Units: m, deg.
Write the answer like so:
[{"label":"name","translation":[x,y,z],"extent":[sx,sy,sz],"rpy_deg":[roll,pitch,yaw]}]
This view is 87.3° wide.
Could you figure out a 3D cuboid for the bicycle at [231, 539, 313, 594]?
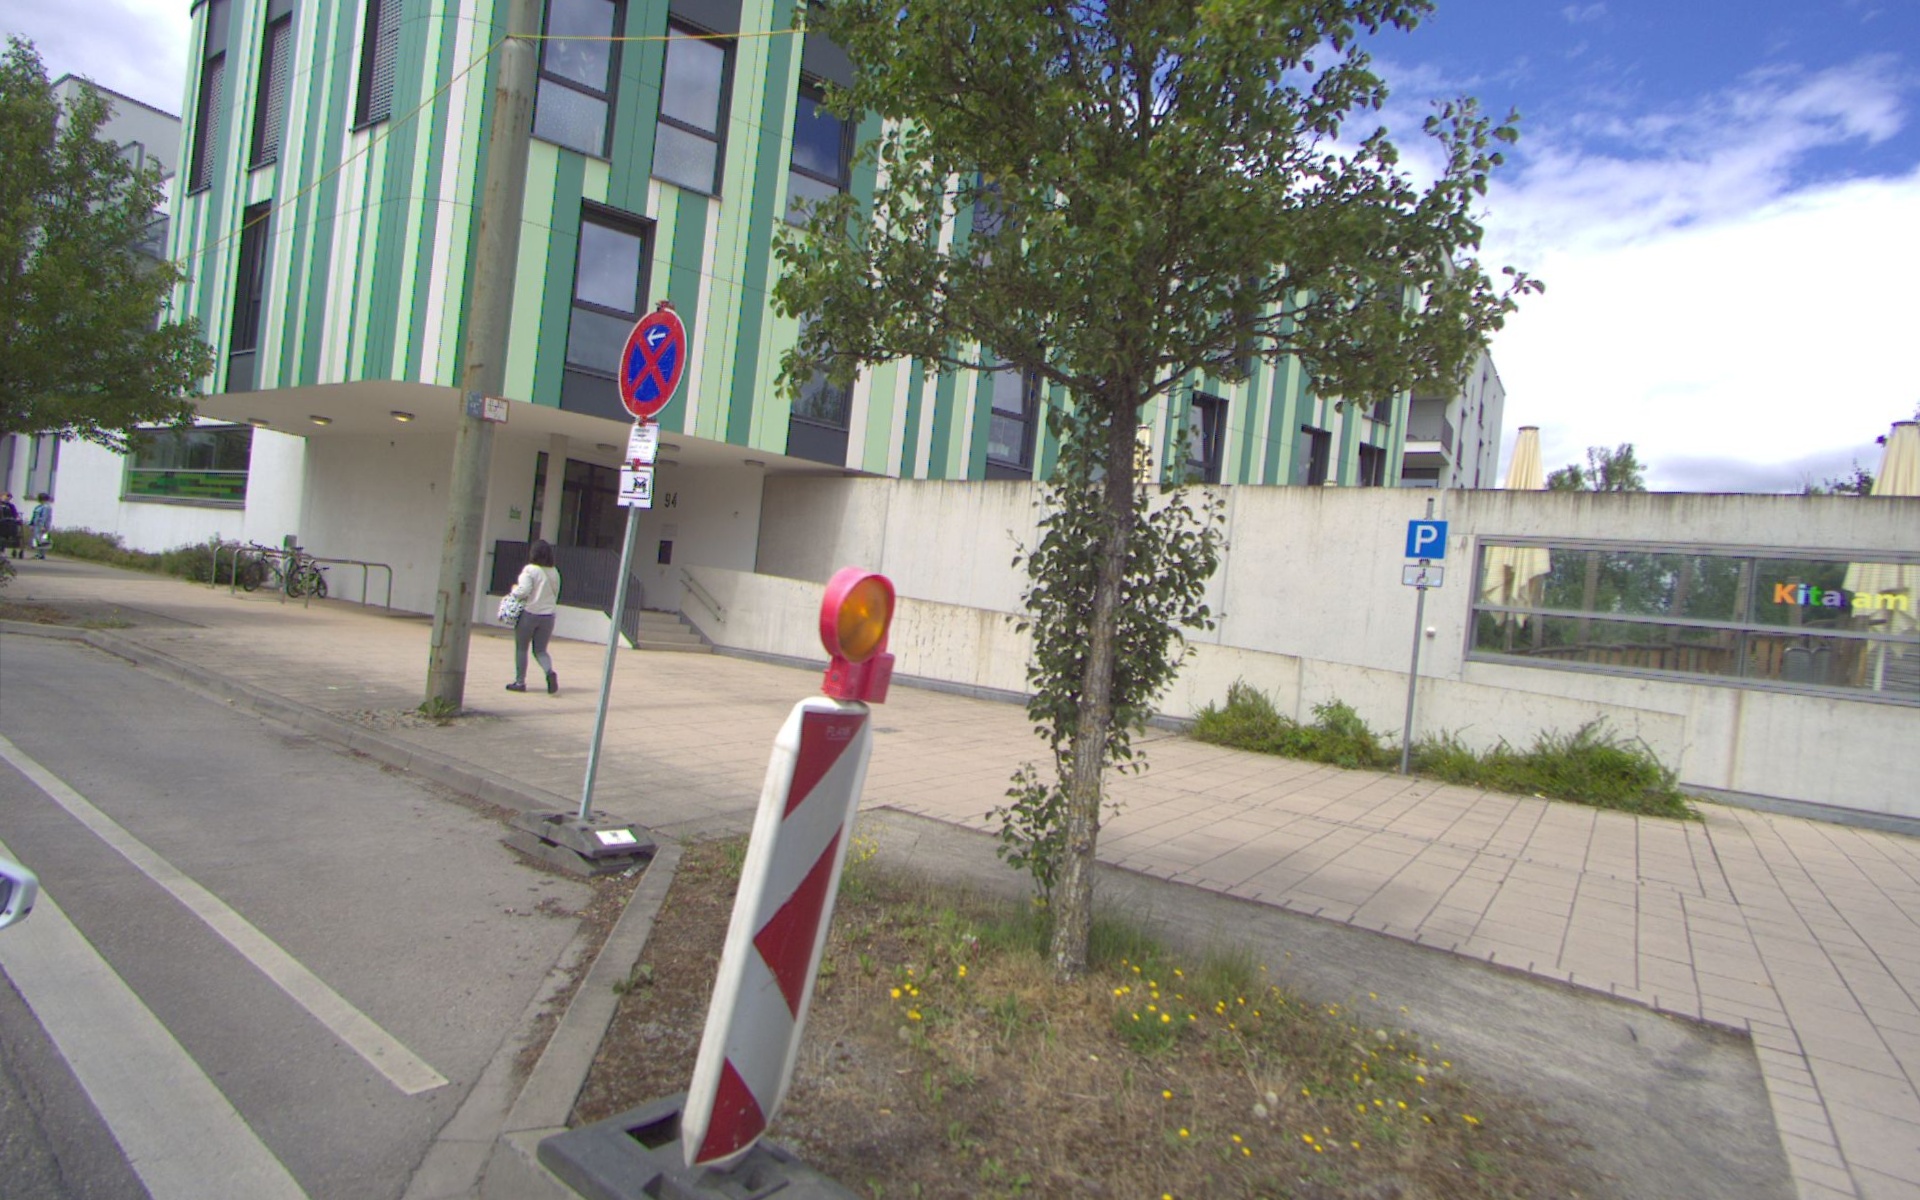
[{"label":"bicycle","translation":[-14.774,-0.705,21.651],"extent":[0.301,1.059,1.468],"rpy_deg":[6,0,22]}]

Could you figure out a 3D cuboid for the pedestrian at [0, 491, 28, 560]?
[{"label":"pedestrian","translation":[-24.116,-1.889,25.434],"extent":[0.543,1.676,0.605],"rpy_deg":[6,1,34]}]

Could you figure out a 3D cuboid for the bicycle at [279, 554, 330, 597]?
[{"label":"bicycle","translation":[-13.810,-0.498,21.208],"extent":[0.301,0.852,1.025],"rpy_deg":[6,0,2]}]

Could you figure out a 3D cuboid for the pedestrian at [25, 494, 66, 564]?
[{"label":"pedestrian","translation":[-23.239,-1.806,25.553],"extent":[0.597,1.676,0.550],"rpy_deg":[6,1,34]}]

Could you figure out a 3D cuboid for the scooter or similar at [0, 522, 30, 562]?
[{"label":"scooter or similar","translation":[-23.627,-1.451,25.106],"extent":[0.671,0.917,0.421],"rpy_deg":[6,1,34]}]

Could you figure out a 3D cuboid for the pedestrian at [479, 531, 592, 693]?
[{"label":"pedestrian","translation":[-4.387,0.122,10.395],"extent":[0.855,1.571,0.581],"rpy_deg":[6,1,34]}]

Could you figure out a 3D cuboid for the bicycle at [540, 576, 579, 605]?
[{"label":"bicycle","translation":[-7.550,-0.180,18.960],"extent":[0.788,0.458,0.306],"rpy_deg":[6,1,40]}]
